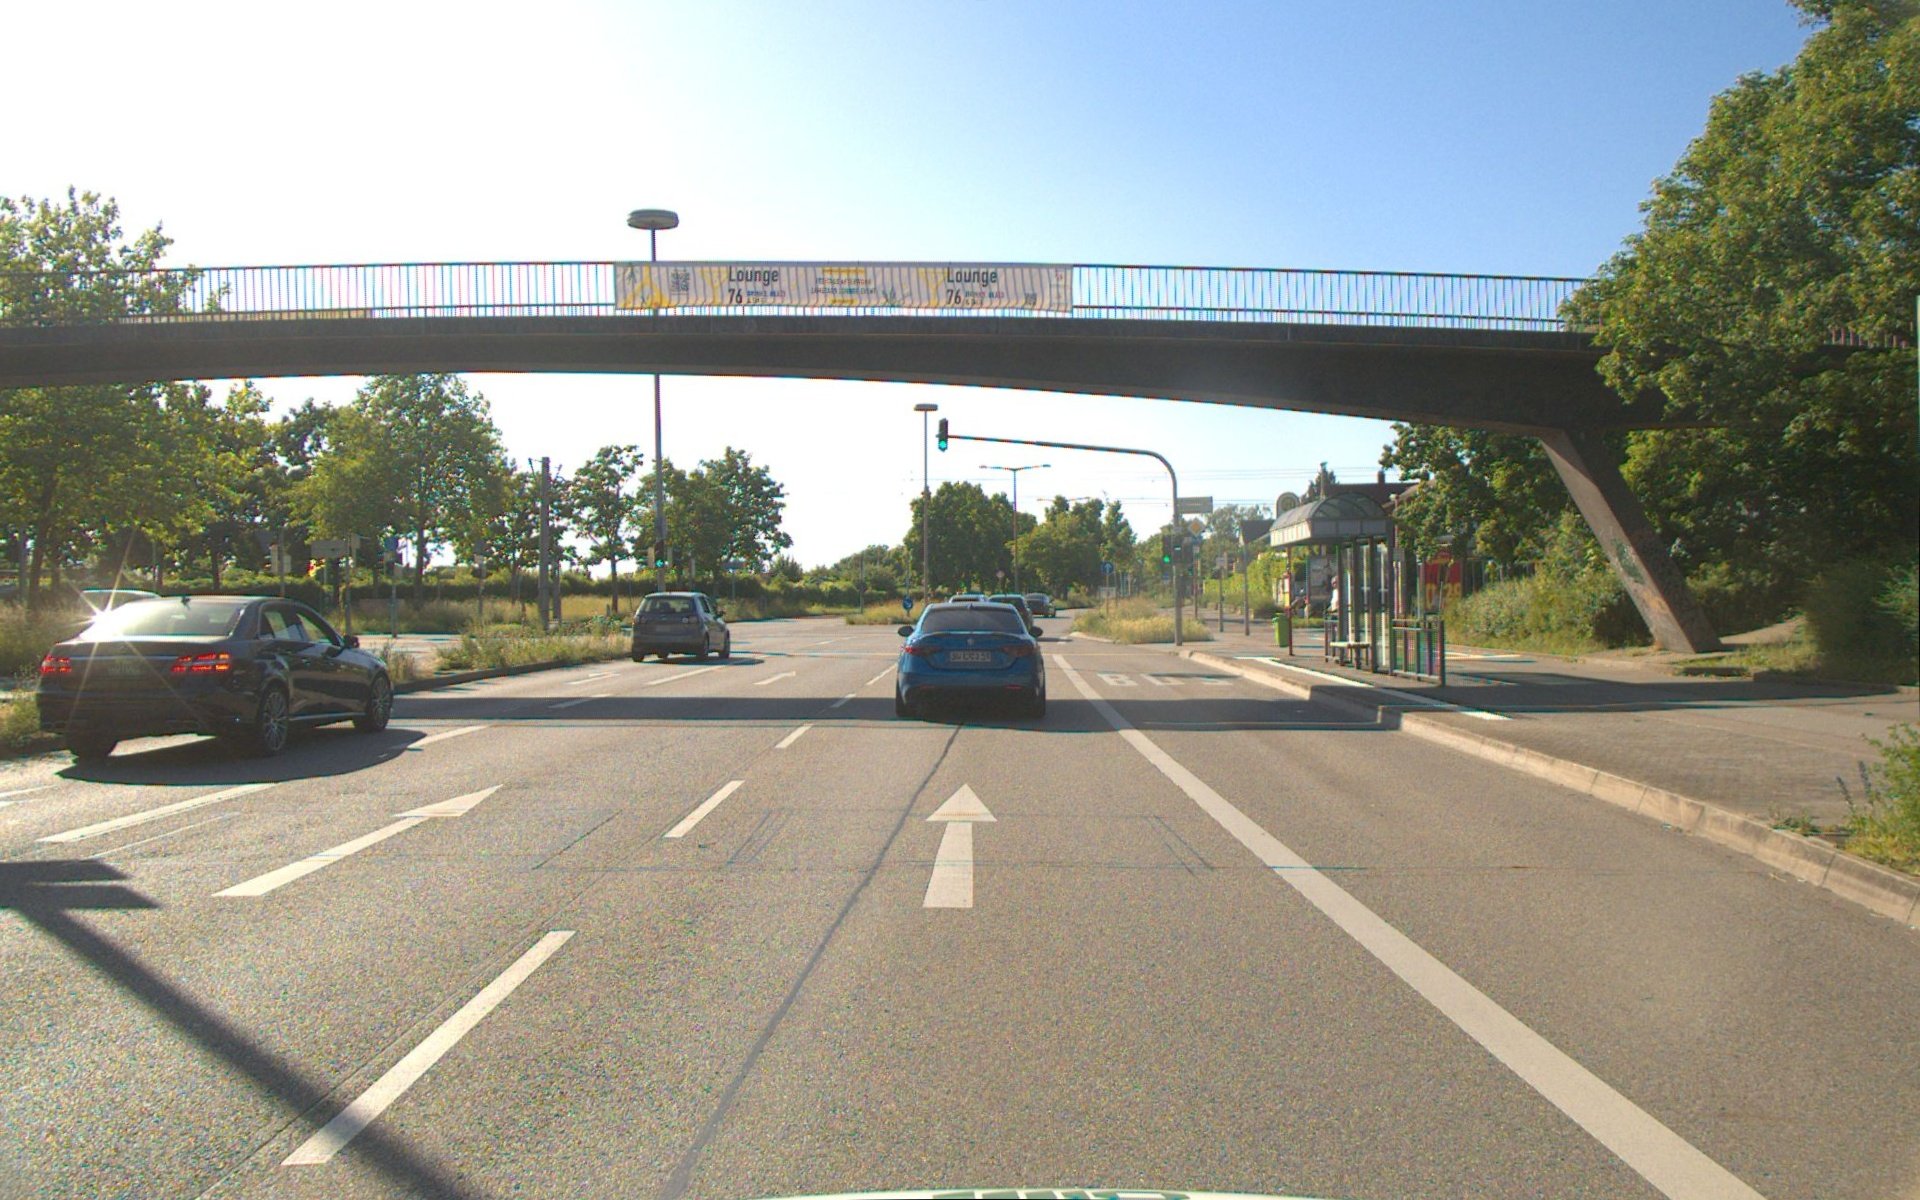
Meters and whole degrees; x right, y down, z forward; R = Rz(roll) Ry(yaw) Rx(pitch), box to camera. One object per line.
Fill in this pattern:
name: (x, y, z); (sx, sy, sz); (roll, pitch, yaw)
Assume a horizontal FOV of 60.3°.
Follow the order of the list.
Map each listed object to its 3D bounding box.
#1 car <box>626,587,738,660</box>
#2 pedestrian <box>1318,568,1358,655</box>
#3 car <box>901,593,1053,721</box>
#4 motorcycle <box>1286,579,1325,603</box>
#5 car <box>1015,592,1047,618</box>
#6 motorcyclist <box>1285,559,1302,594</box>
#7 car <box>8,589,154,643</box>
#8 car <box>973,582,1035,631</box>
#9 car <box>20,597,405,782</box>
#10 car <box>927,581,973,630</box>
car: (-6.544, 0.506, 39.384); (1.804, 1.598, 4.387); (-1, 1, 1)
pedestrian: (7.479, 0.228, 32.738); (0.576, 1.691, 0.716); (-1, 0, -1)
car: (0.231, 0.664, 21.747); (1.800, 1.500, 4.185); (0, 1, 1)
motorcycle: (15.991, -0.410, 76.478); (1.718, 1.090, 0.452); (-1, 0, 8)
car: (4.412, 0.297, 101.799); (1.625, 1.607, 3.812); (0, 0, 8)
motorcyclist: (15.441, -1.071, 76.527); (0.678, 1.585, 0.700); (-1, 0, 8)
car: (-29.208, 0.516, 55.026); (3.905, 1.785, 1.778); (0, 0, 0)
car: (1.519, 0.189, 56.201); (1.875, 1.607, 4.185); (0, 1, 5)
car: (-7.174, 0.761, 16.457); (1.738, 1.512, 4.529); (-1, 1, 0)
car: (-0.396, 0.232, 71.585); (1.755, 2.049, 4.002); (0, 0, 3)
